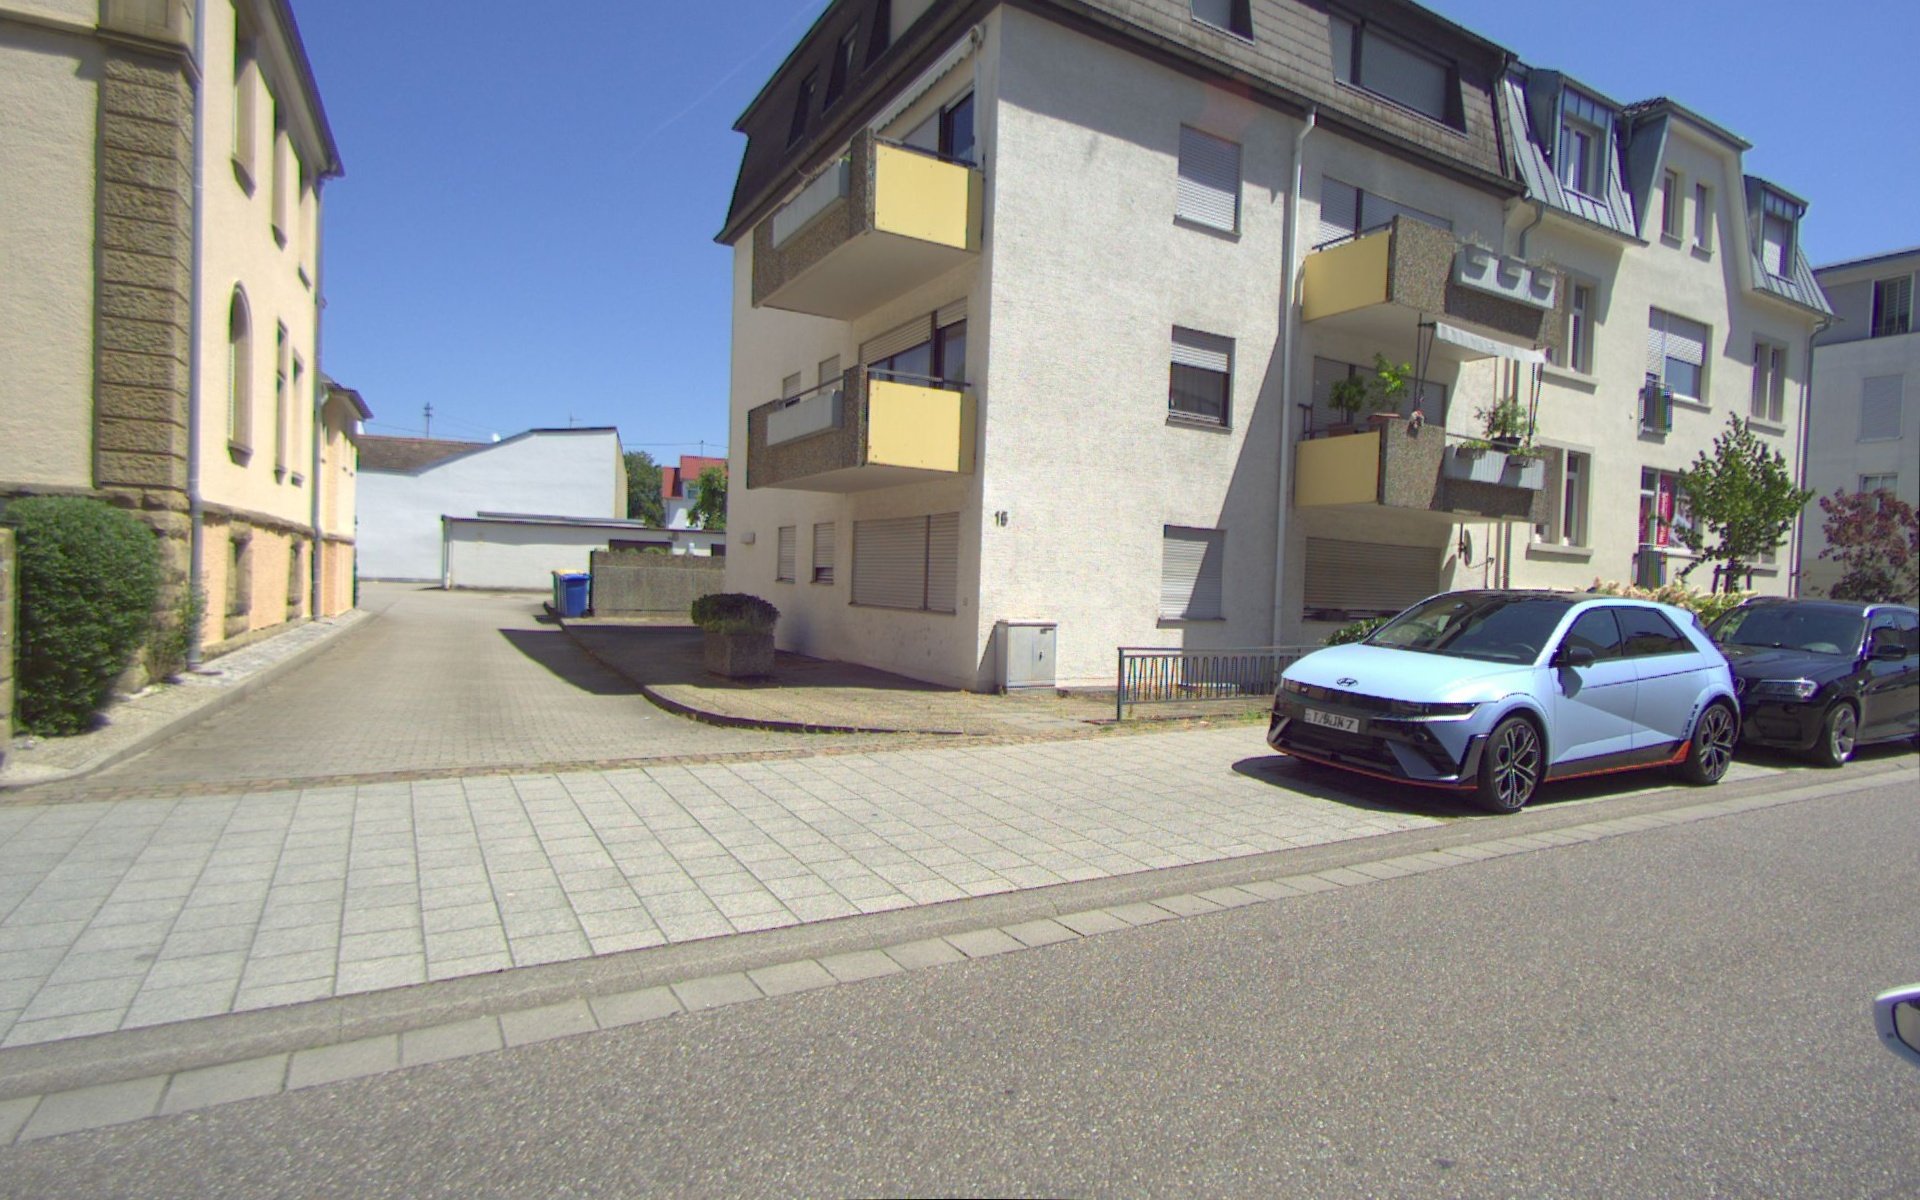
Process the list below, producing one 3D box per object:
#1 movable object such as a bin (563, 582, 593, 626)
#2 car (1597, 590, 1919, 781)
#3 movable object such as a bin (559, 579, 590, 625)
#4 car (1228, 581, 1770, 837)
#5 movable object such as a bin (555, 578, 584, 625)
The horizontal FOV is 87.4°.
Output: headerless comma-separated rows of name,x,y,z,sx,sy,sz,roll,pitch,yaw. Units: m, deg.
movable object such as a bin,-9.528,0.101,25.053,0.637,1.091,0.492,1,1,-30
car,9.250,0.816,11.127,4.517,1.641,1.716,1,4,-30
movable object such as a bin,-9.797,0.054,25.522,0.637,1.144,0.492,1,1,-30
car,4.727,0.747,8.666,4.604,1.594,1.916,1,4,-30
movable object such as a bin,-10.112,0.042,26.010,0.637,1.200,0.492,1,1,-30
